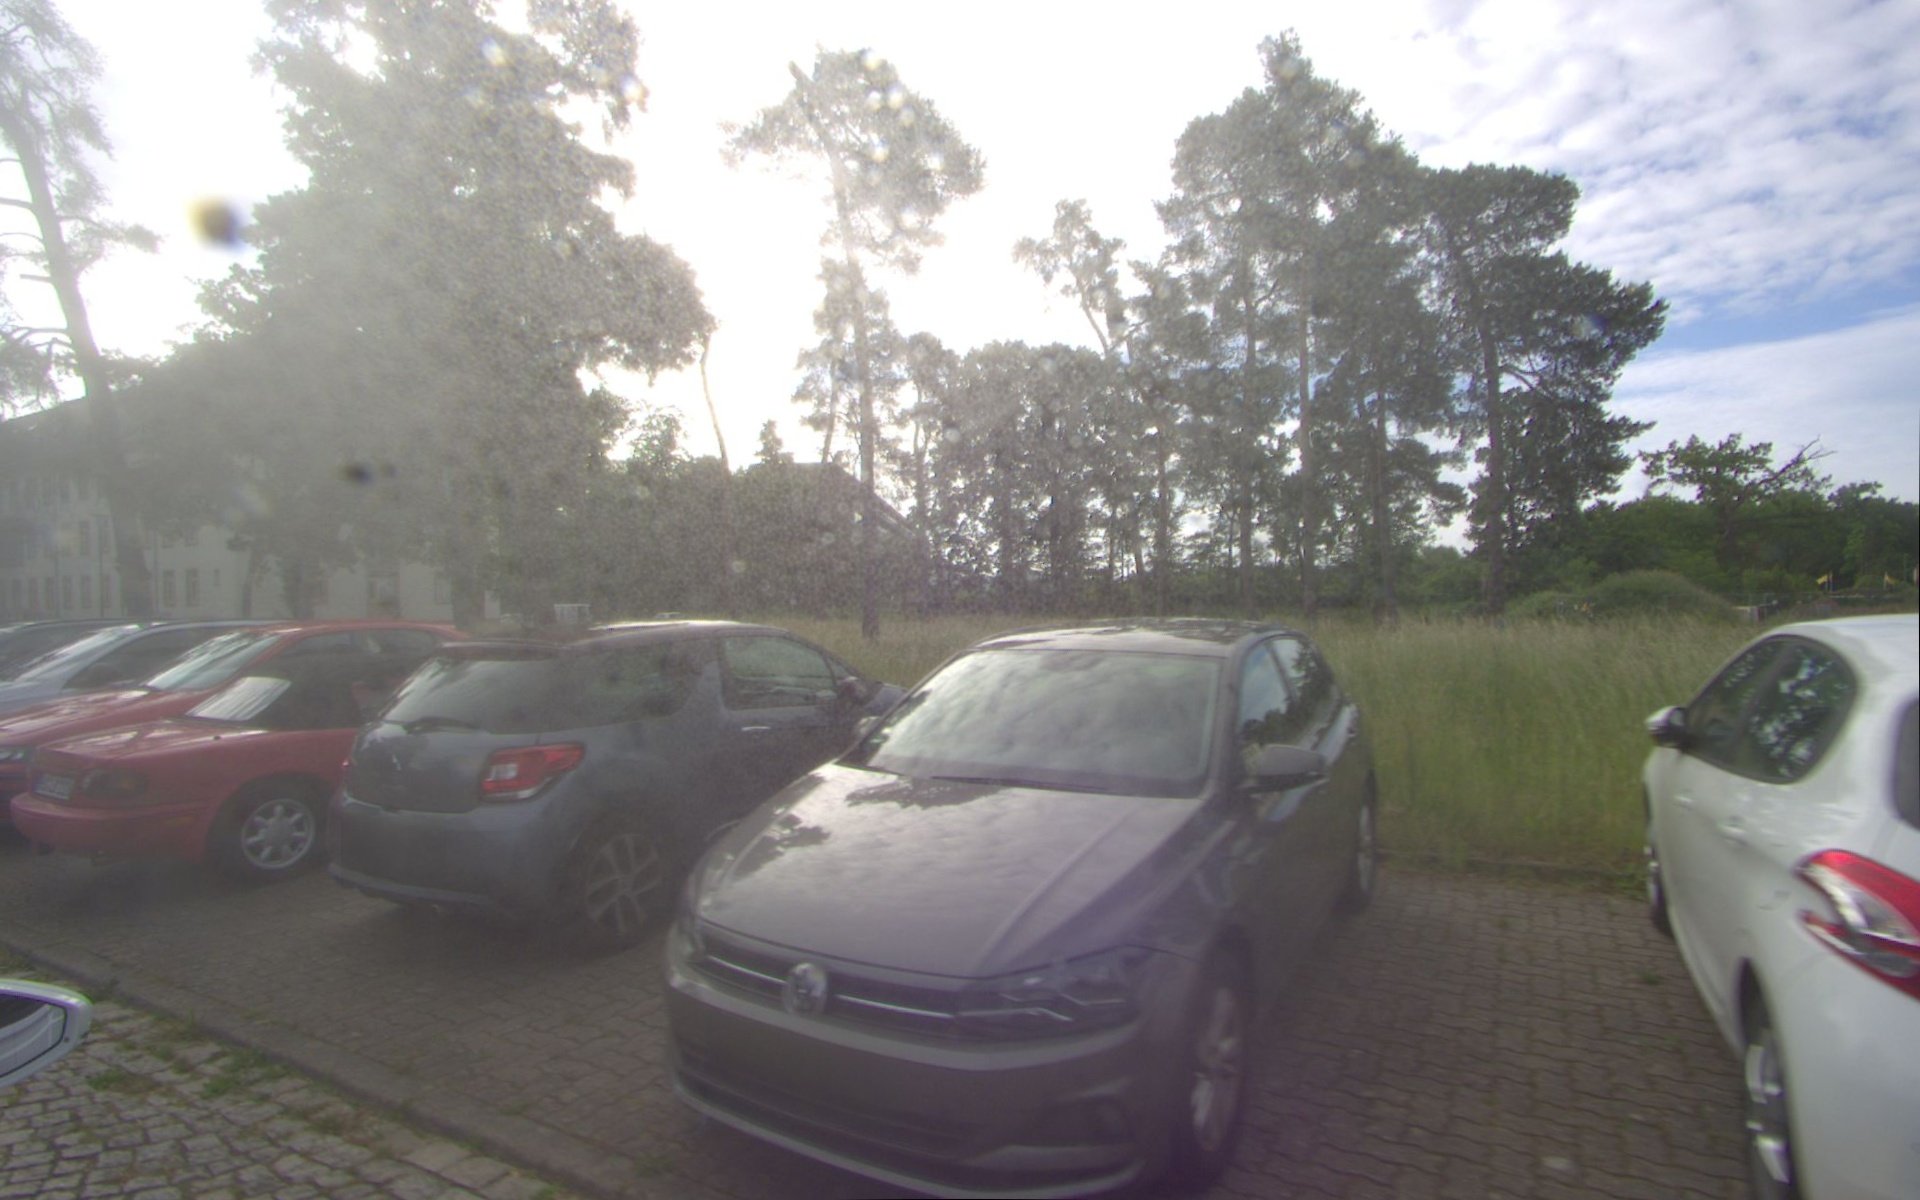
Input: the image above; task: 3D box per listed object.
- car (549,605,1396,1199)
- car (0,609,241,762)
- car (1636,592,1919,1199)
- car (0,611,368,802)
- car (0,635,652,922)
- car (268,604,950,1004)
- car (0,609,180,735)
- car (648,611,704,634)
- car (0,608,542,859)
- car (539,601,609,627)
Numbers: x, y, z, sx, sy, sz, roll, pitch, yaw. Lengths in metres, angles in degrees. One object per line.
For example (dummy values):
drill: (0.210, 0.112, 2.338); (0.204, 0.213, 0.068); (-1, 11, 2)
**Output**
car: (0.629, 0.793, 4.170); (1.739, 1.466, 4.124); (0, 1, 30)
car: (-10.379, 0.888, 10.645); (1.679, 1.499, 4.233); (0, 1, 19)
car: (3.221, 0.735, 2.943); (1.739, 1.498, 3.648); (0, 1, 29)
car: (-8.030, 0.878, 9.263); (1.725, 1.456, 4.187); (0, 1, 23)
car: (-4.063, 0.945, 6.863); (1.604, 1.239, 3.580); (0, 1, 31)
car: (-1.667, 0.810, 5.849); (1.716, 1.507, 3.500); (0, 1, 29)
car: (-12.356, 0.899, 12.257); (1.606, 1.483, 4.135); (0, 1, 24)
car: (-22.427, 1.800, 79.253); (1.872, 1.827, 4.127); (-1, -2, 31)
car: (-5.814, 0.861, 8.455); (1.658, 1.496, 4.101); (0, 1, 28)
car: (-32.149, 1.224, 83.535); (2.074, 2.045, 5.295); (-1, -2, 30)
